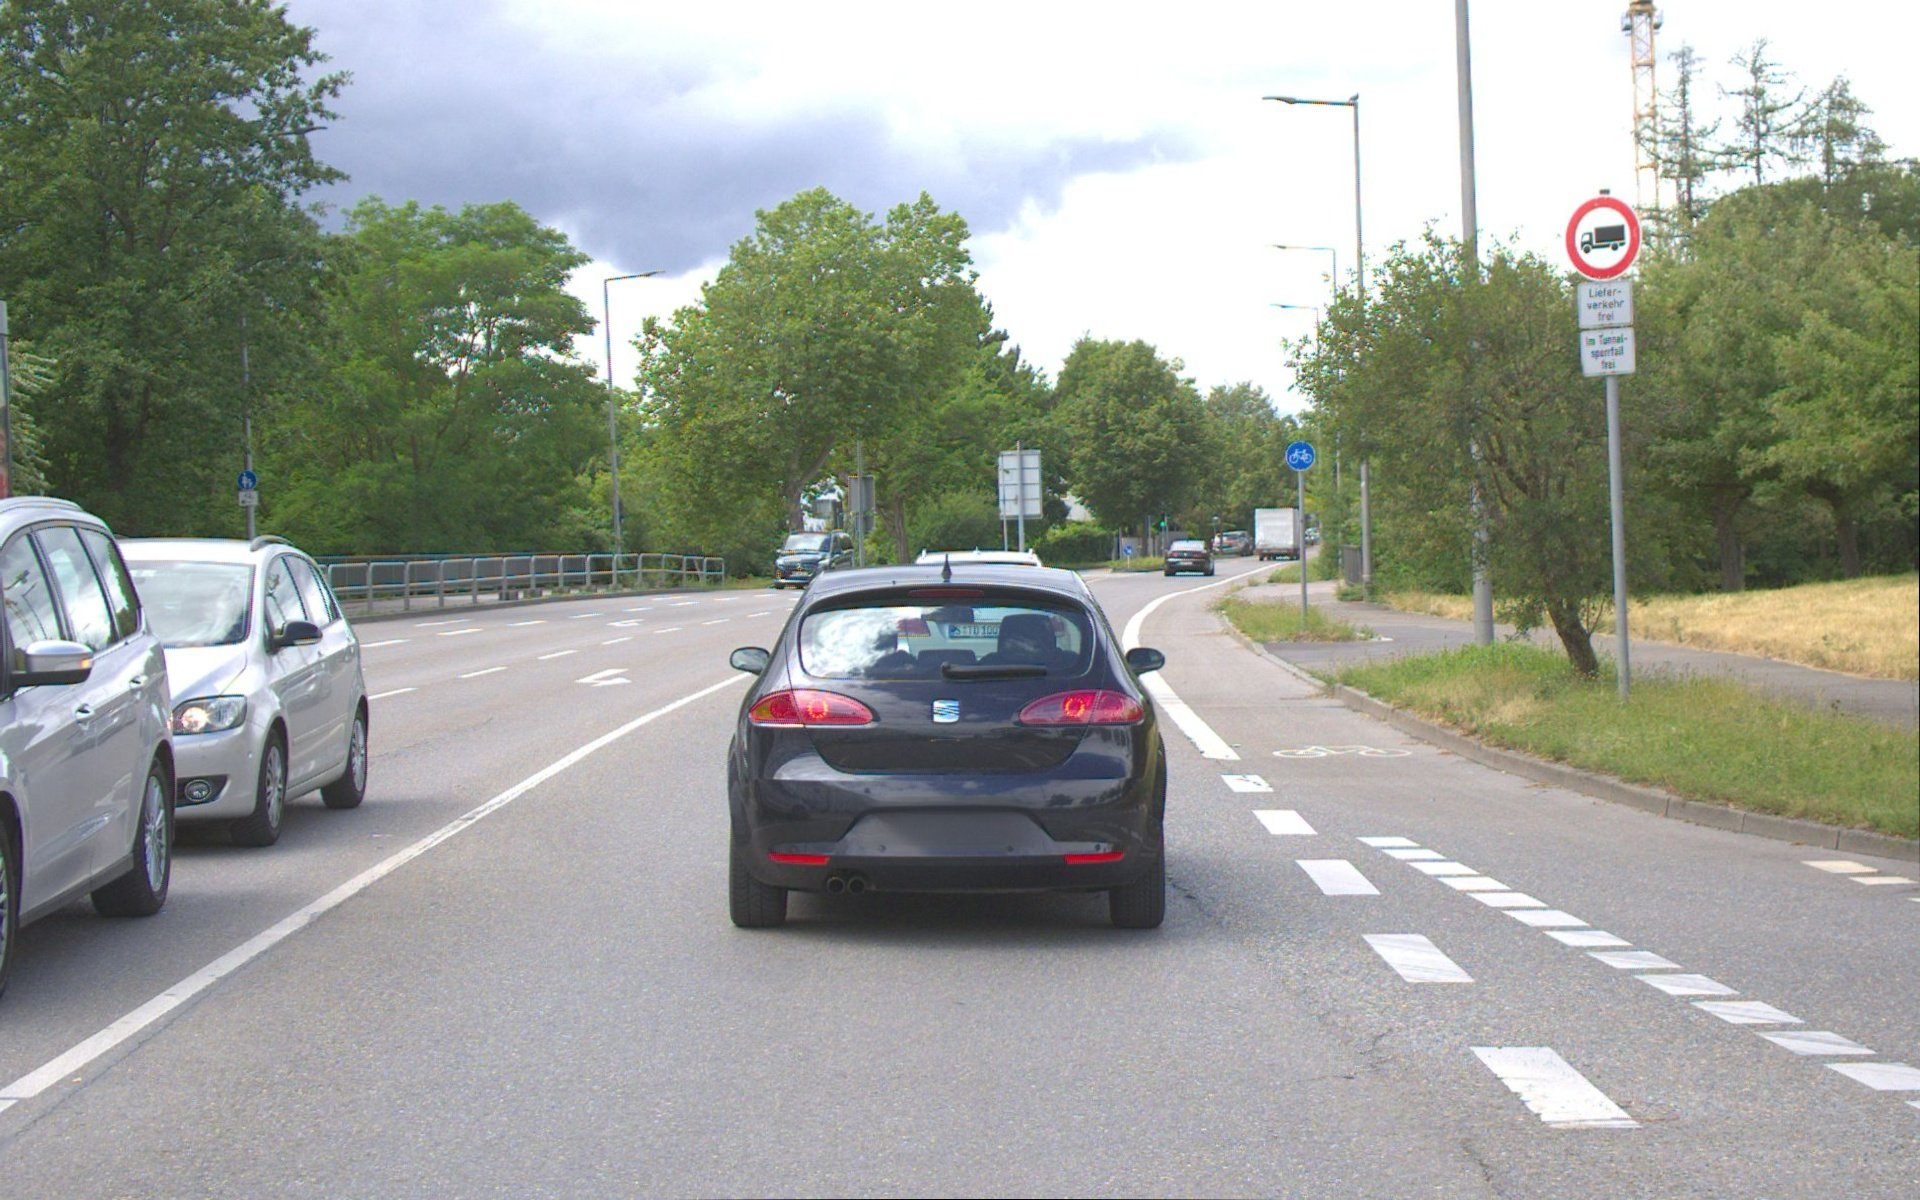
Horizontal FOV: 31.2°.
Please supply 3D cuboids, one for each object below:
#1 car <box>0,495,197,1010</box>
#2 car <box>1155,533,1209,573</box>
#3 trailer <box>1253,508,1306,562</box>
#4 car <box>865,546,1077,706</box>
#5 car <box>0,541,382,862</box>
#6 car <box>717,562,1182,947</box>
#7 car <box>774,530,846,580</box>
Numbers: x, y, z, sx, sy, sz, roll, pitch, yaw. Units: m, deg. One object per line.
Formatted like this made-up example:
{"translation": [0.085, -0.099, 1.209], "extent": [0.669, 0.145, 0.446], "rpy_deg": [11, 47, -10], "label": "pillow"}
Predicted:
{"translation": [-4.104, 0.463, 12.517], "extent": [1.820, 1.681, 4.646], "rpy_deg": [1, 1, -3], "label": "car"}
{"translation": [8.875, -1.879, 137.332], "extent": [1.994, 1.560, 4.470], "rpy_deg": [0, 1, 6], "label": "car"}
{"translation": [18.736, -3.814, 201.556], "extent": [2.492, 3.063, 5.584], "rpy_deg": [1, 0, 11], "label": "trailer"}
{"translation": [0.053, 0.231, 33.665], "extent": [1.834, 1.462, 3.751], "rpy_deg": [1, 0, -3], "label": "car"}
{"translation": [-4.274, 0.451, 18.525], "extent": [1.660, 1.513, 4.084], "rpy_deg": [0, 1, 0], "label": "car"}
{"translation": [-0.158, 0.561, 14.577], "extent": [1.711, 1.412, 3.460], "rpy_deg": [0, 1, -4], "label": "car"}
{"translation": [-4.888, -1.469, 112.194], "extent": [1.715, 1.576, 3.741], "rpy_deg": [1, 0, 7], "label": "car"}
